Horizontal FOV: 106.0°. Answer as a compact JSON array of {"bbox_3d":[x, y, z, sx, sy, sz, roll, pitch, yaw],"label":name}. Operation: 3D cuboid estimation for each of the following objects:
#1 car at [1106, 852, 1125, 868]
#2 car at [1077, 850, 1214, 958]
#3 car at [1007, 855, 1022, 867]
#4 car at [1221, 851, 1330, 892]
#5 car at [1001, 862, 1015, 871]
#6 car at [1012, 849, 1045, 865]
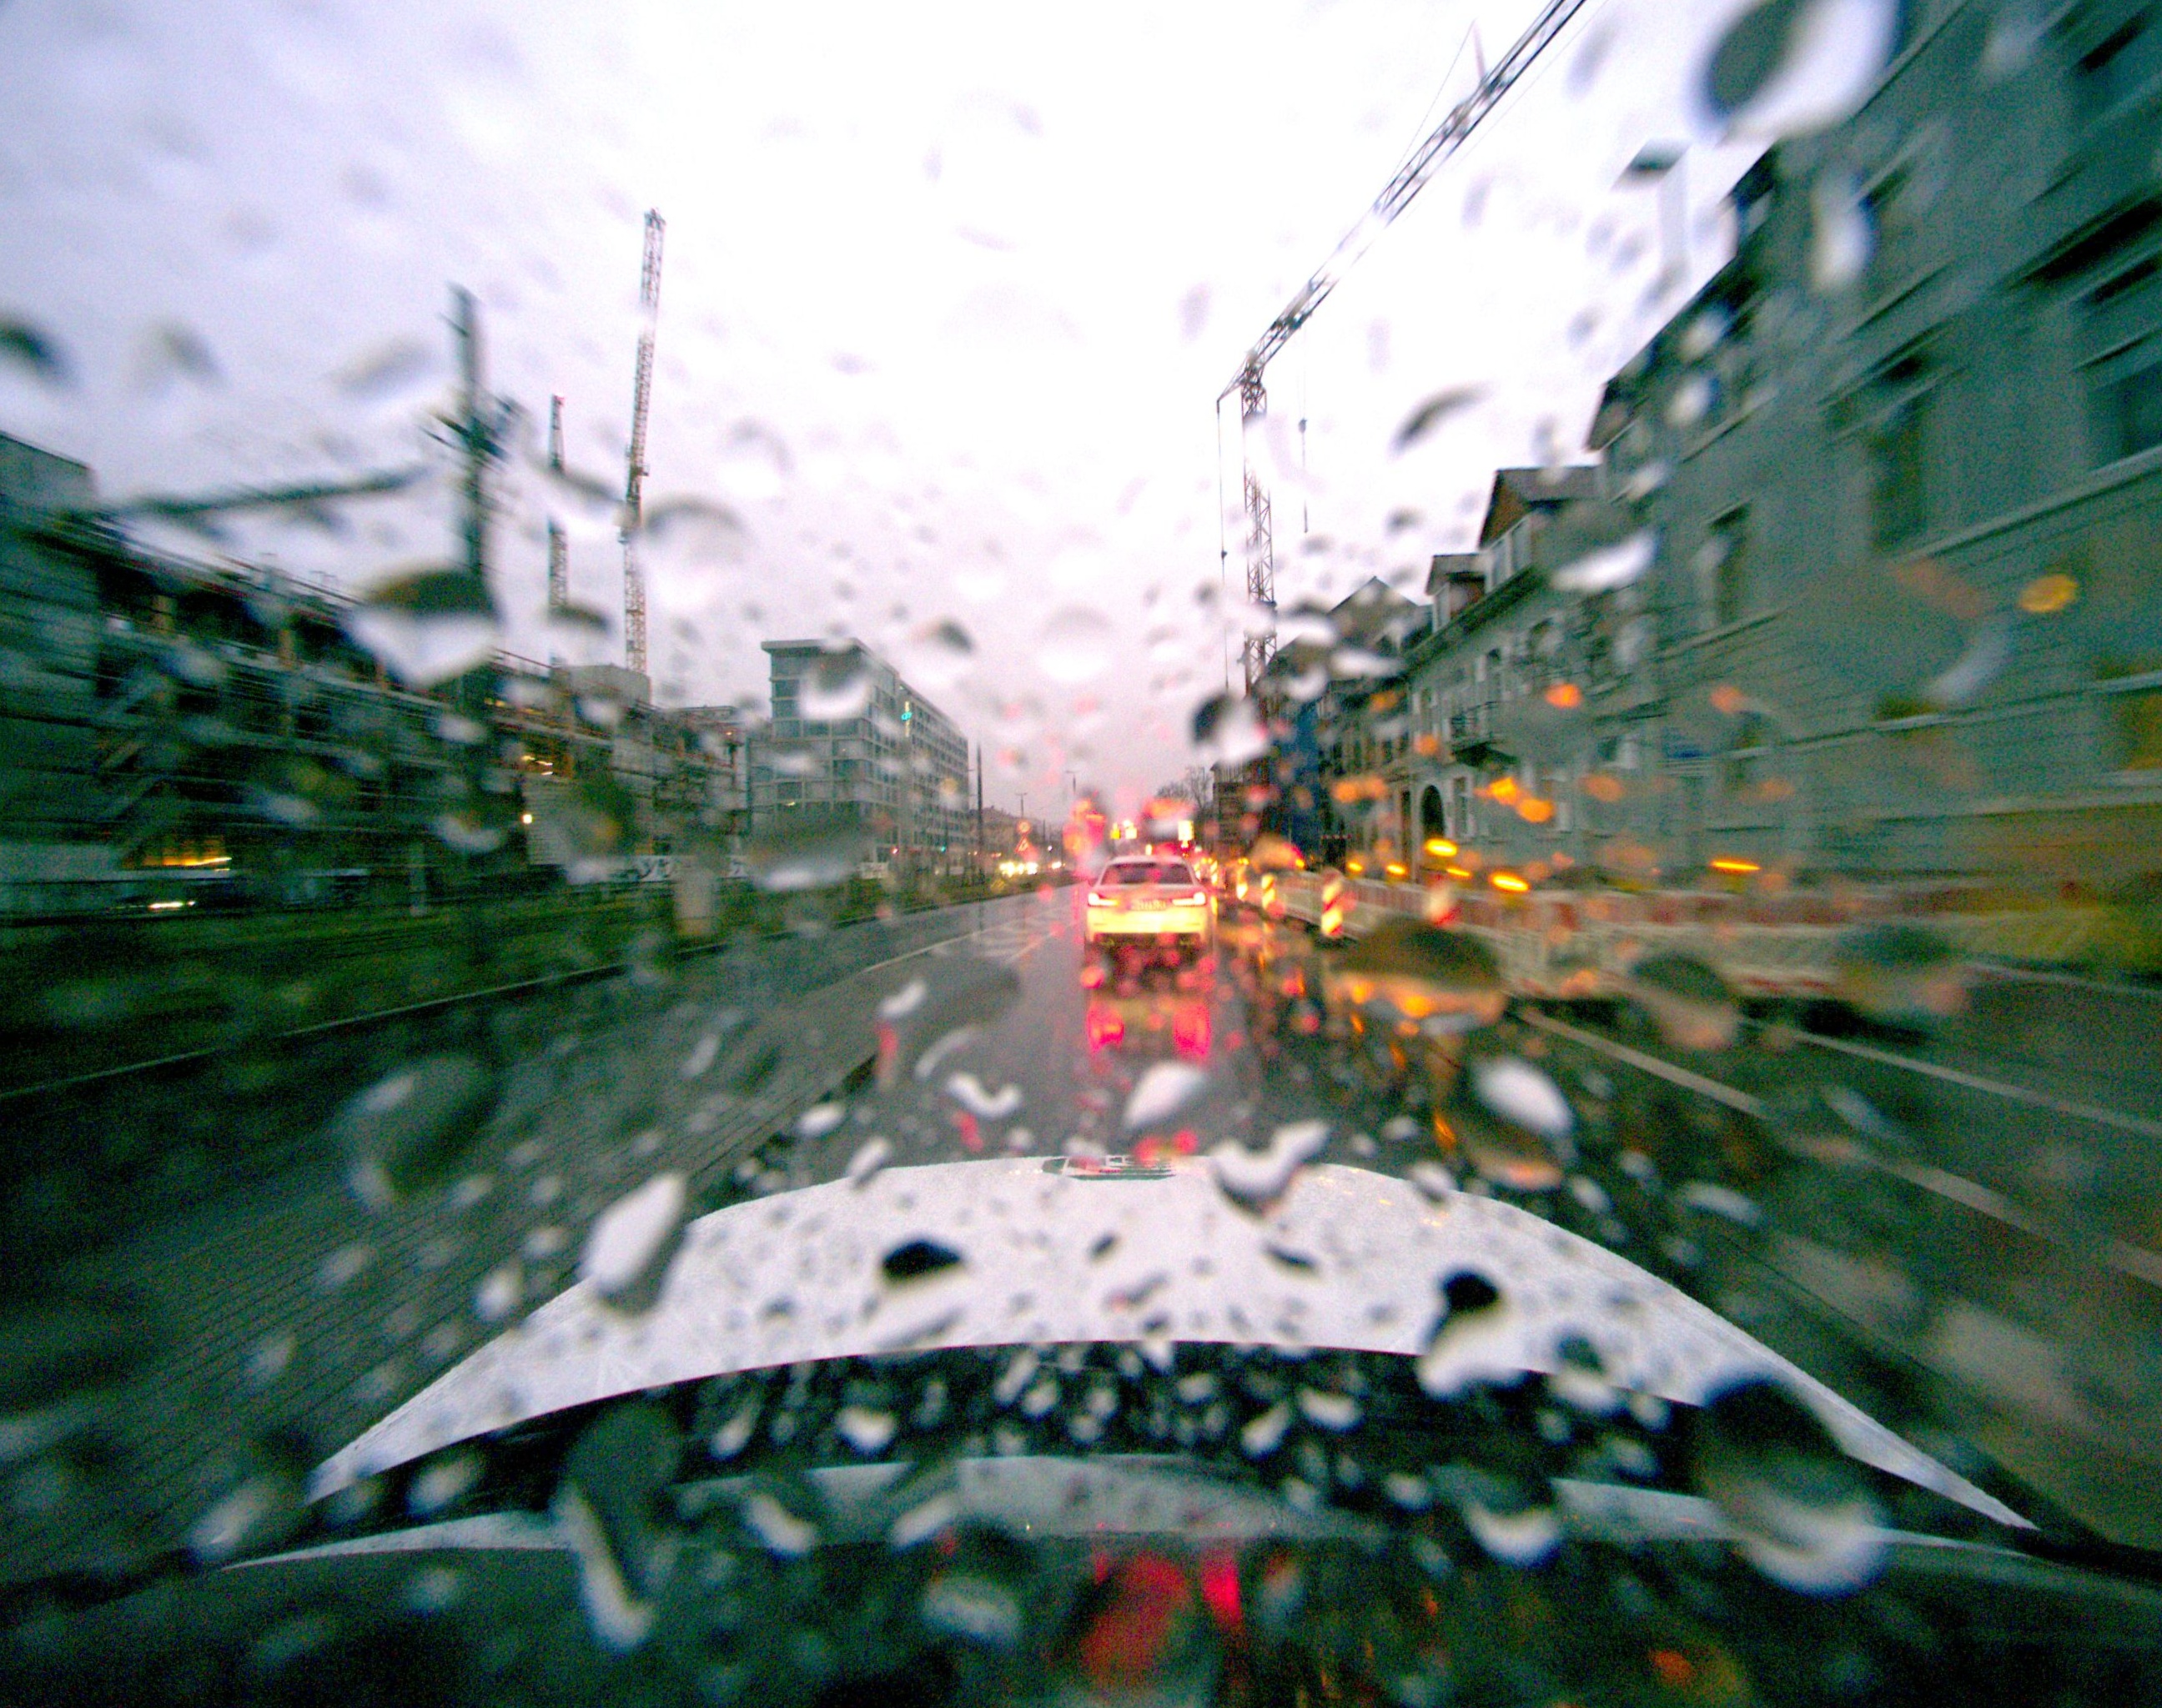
[{"bbox_3d":[3.748,0.656,88.133,1.893,1.642,4.004,0,0,3],"label":"car"},{"bbox_3d":[1.002,0.682,13.532,1.844,1.465,4.950,0,0,3],"label":"car"},{"bbox_3d":[-11.751,1.248,143.734,1.985,2.013,4.542,-1,0,3],"label":"car"},{"bbox_3d":[7.740,0.647,32.296,4.110,1.518,1.888,0,0,-33],"label":"car"},{"bbox_3d":[-12.003,2.074,133.587,1.731,1.492,3.547,-1,0,5],"label":"car"},{"bbox_3d":[-6.786,0.370,105.689,3.994,1.975,1.989,0,0,-16],"label":"car"}]
